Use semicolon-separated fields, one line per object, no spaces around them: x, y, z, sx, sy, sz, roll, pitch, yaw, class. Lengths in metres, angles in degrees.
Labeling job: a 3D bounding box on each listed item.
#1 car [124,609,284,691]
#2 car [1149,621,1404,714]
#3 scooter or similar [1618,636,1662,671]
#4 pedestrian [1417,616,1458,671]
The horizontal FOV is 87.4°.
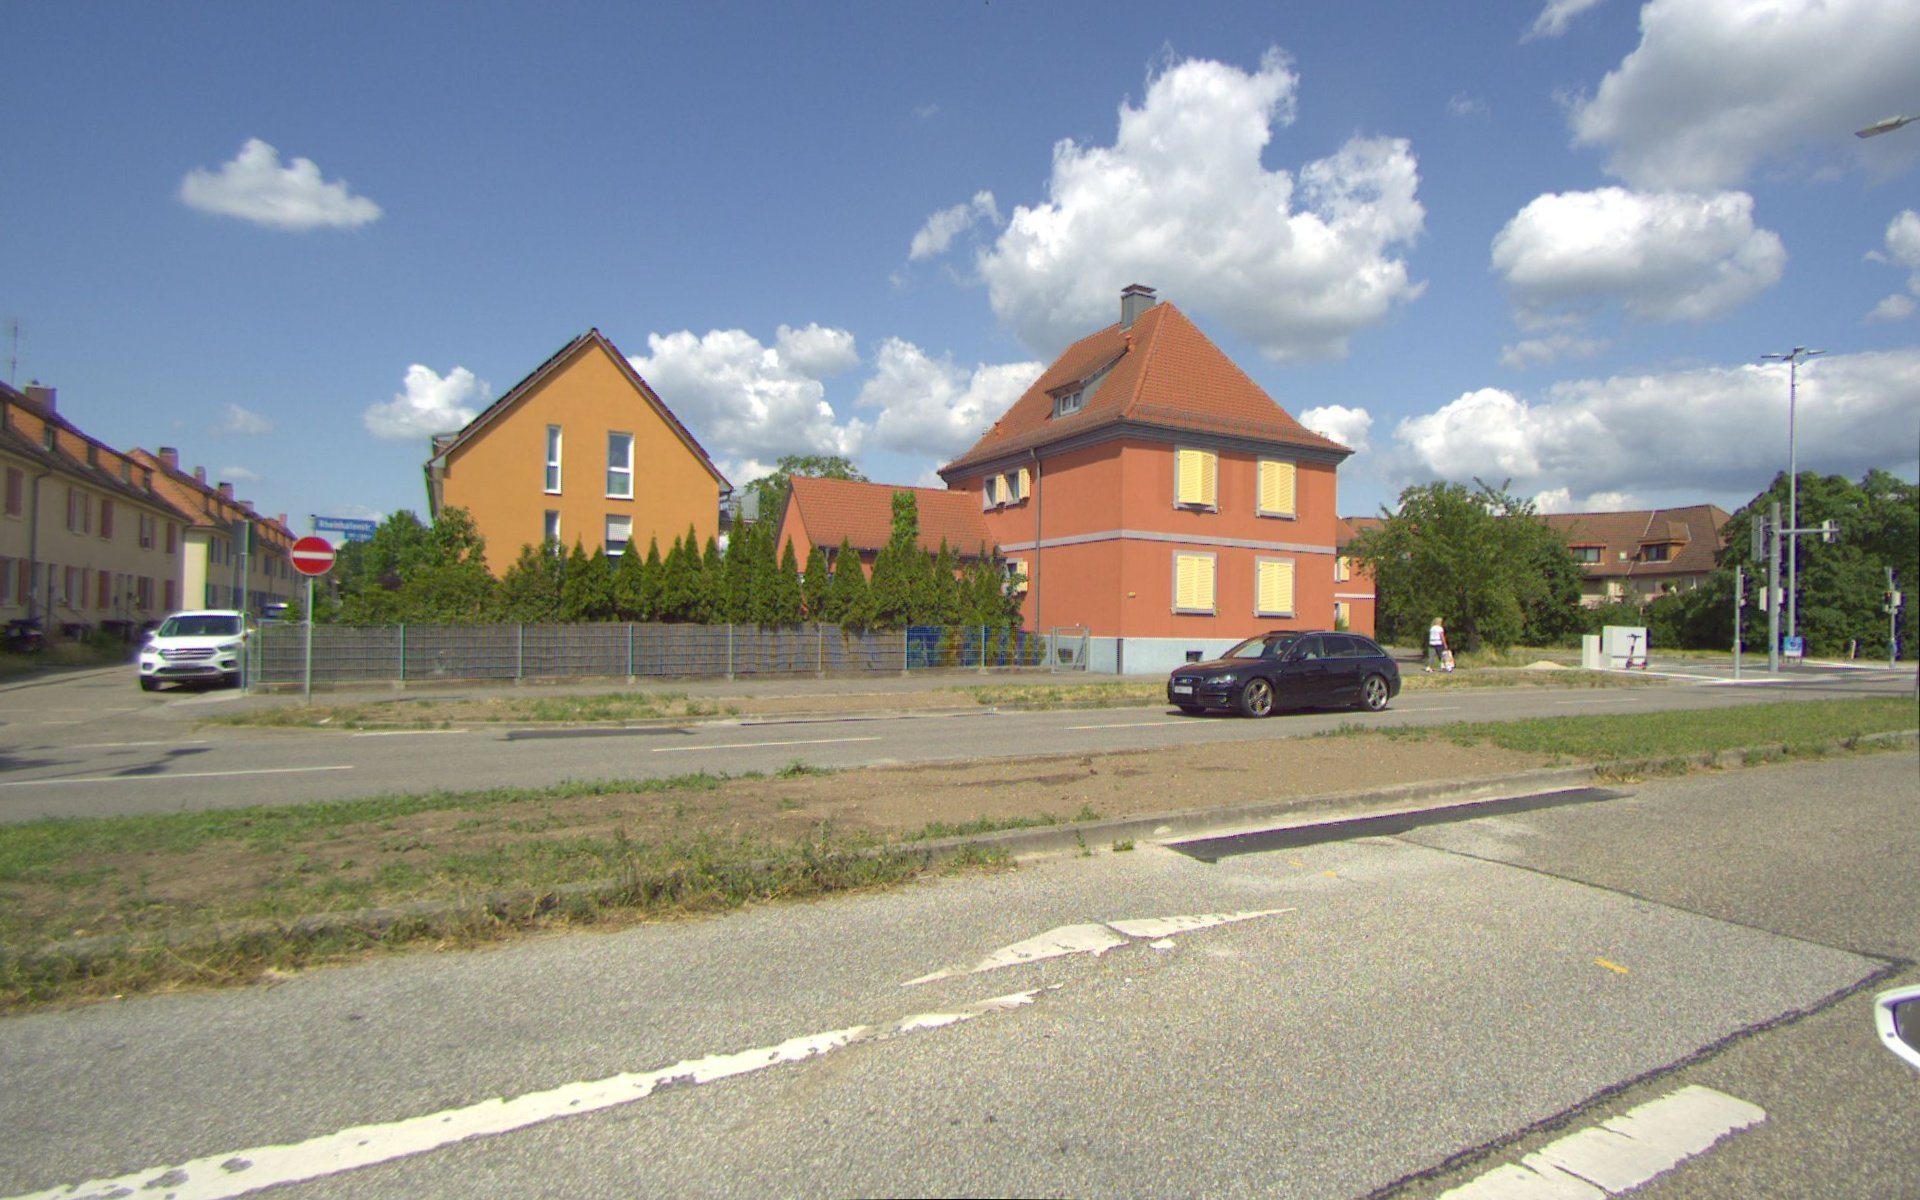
-16.671;1.069;22.388;1.973;1.639;3.976;2;-2;-25;car
5.636;1.158;17.694;4.524;1.457;1.763;2;-3;-31;car
24.459;1.930;36.123;1.741;1.179;0.586;2;0;-30;scooter or similar
14.182;1.291;29.821;0.841;1.604;0.692;2;0;-30;pedestrian
